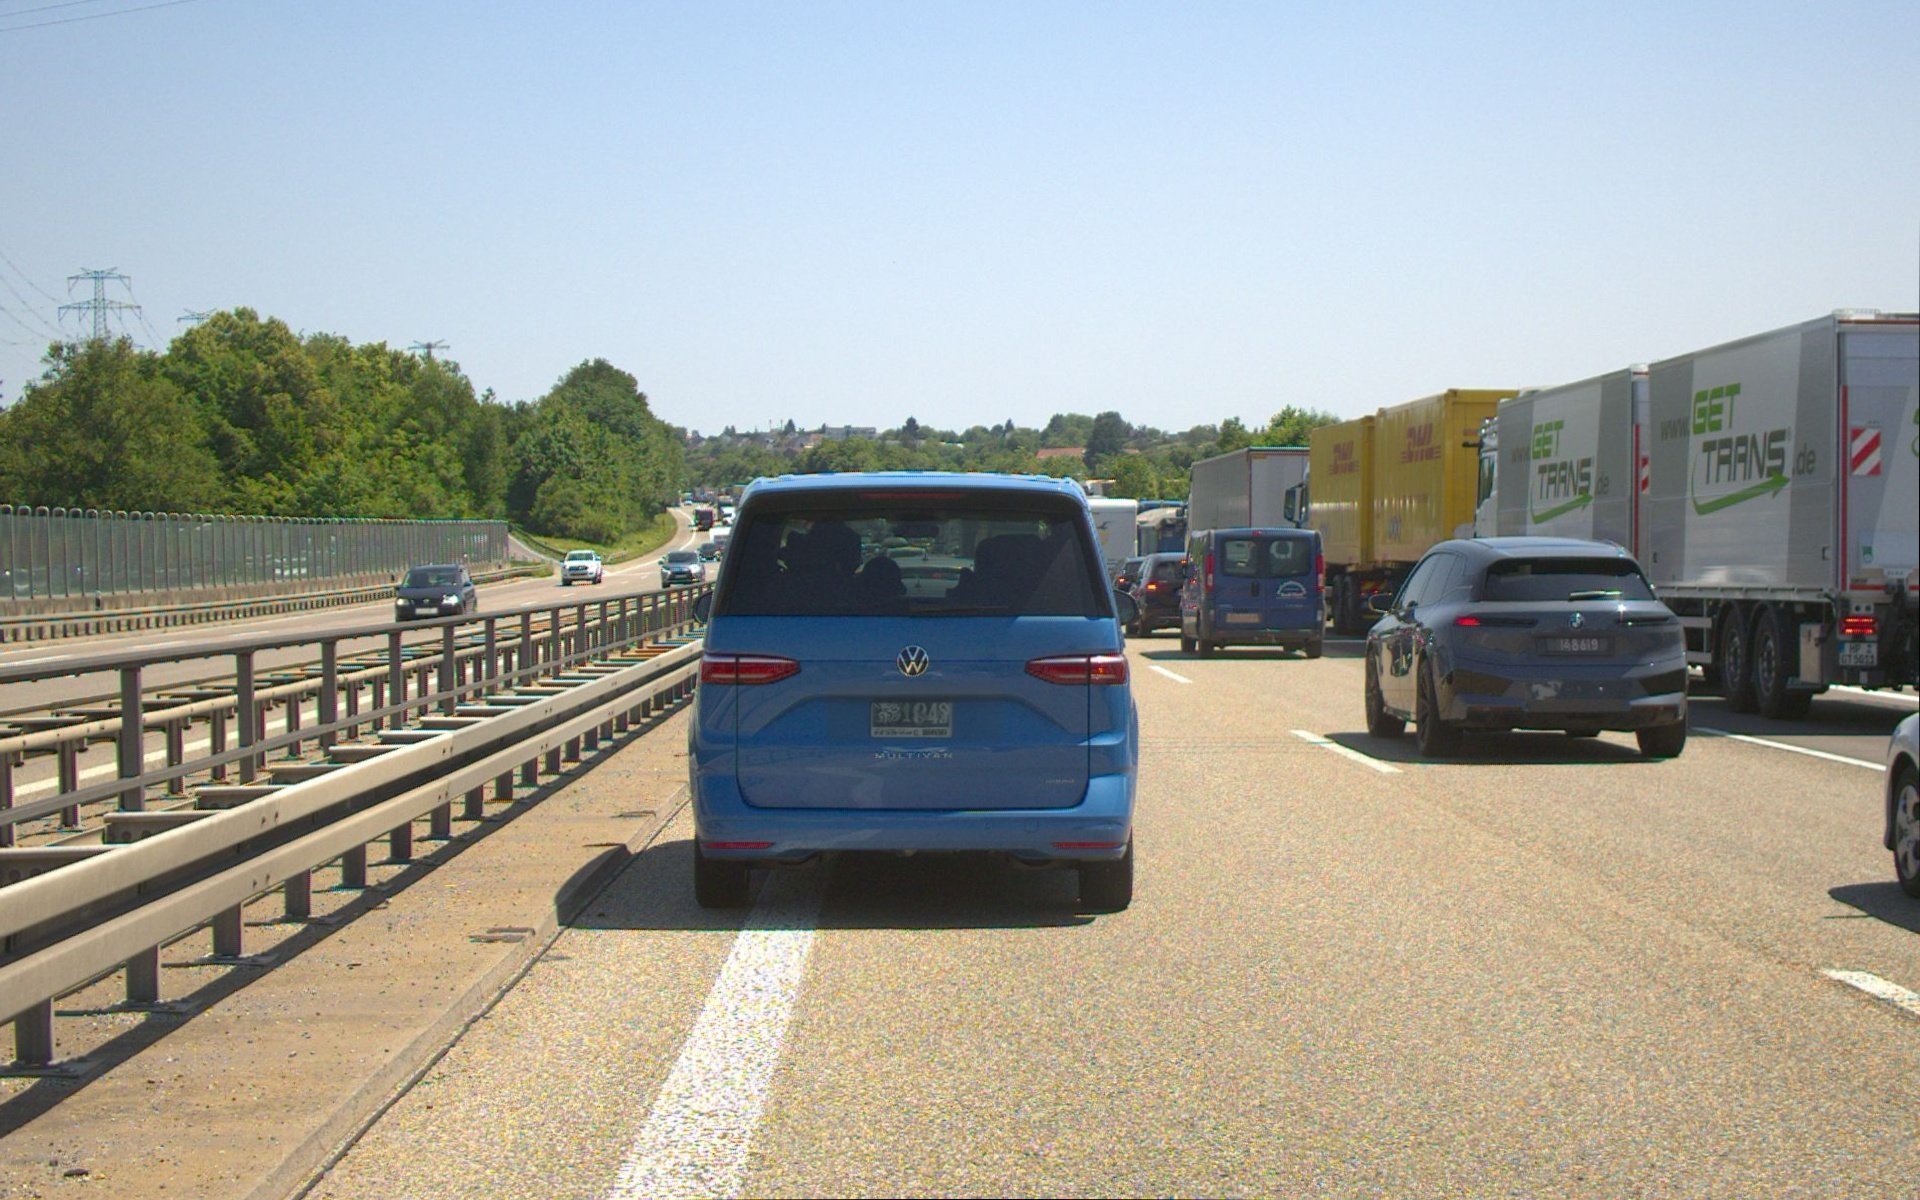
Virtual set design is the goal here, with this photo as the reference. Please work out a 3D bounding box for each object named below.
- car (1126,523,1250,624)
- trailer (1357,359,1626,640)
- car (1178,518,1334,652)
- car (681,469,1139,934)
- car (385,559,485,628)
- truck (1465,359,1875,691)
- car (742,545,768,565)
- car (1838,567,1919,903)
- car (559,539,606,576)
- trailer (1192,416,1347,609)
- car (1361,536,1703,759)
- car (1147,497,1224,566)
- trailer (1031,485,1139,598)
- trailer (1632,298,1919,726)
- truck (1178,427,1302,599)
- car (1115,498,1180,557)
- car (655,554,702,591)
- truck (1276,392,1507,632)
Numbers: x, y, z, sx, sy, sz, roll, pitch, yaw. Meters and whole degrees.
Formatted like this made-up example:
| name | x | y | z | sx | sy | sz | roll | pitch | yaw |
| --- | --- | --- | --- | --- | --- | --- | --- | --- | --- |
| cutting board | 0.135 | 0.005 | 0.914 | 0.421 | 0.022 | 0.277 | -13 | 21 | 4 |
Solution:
| name | x | y | z | sx | sy | sz | roll | pitch | yaw |
| --- | --- | --- | --- | --- | --- | --- | --- | --- | --- |
| car | 4.208 | -0.504 | 63.933 | 1.993 | 1.809 | 4.000 | 0 | 1 | -1 |
| trailer | 8.591 | -1.562 | 56.692 | 2.864 | 4.224 | 9.012 | 1 | 0 | -1 |
| car | 4.514 | -0.254 | 52.982 | 1.962 | 1.986 | 4.293 | 0 | 1 | -1 |
| car | -0.224 | 0.387 | 15.893 | 1.820 | 1.851 | 4.075 | 1 | 1 | -1 |
| car | -13.682 | -0.179 | 89.780 | 1.993 | 1.666 | 4.187 | -3 | 1 | -2 |
| truck | 8.586 | -0.914 | 43.166 | 2.656 | 3.635 | 11.011 | 0 | 1 | -1 |
| car | -14.299 | -3.166 | 239.430 | 1.597 | 1.313 | 4.342 | -2 | 1 | -1 |
| car | 5.081 | 0.602 | 14.127 | 1.788 | 1.450 | 4.293 | 0 | 1 | -1 |
| car | -20.084 | -2.262 | 183.174 | 1.993 | 1.878 | 5.256 | 2 | 1 | -1 |
| trailer | 7.631 | -2.145 | 86.216 | 2.637 | 4.501 | 11.302 | 1 | 1 | -1 |
| car | 4.473 | 0.315 | 27.509 | 1.962 | 1.639 | 4.293 | 0 | 1 | -1 |
| car | 6.815 | -2.052 | 104.097 | 1.993 | 2.007 | 4.000 | 1 | 0 | -1 |
| trailer | 3.454 | -1.621 | 97.418 | 2.569 | 2.980 | 10.663 | 1 | 1 | 0 |
| trailer | 8.787 | -0.827 | 33.659 | 2.698 | 3.687 | 8.015 | 0 | 1 | -1 |
| truck | 7.541 | -2.301 | 93.344 | 2.667 | 4.469 | 6.850 | 1 | 0 | -1 |
| car | 6.634 | -2.560 | 121.887 | 1.993 | 2.007 | 4.461 | -1 | 1 | -1 |
| car | -12.553 | -1.226 | 153.366 | 1.805 | 1.621 | 4.478 | 0 | 1 | -1 |
| truck | 8.184 | -1.634 | 66.740 | 2.836 | 4.228 | 11.011 | 1 | 1 | -1 |
